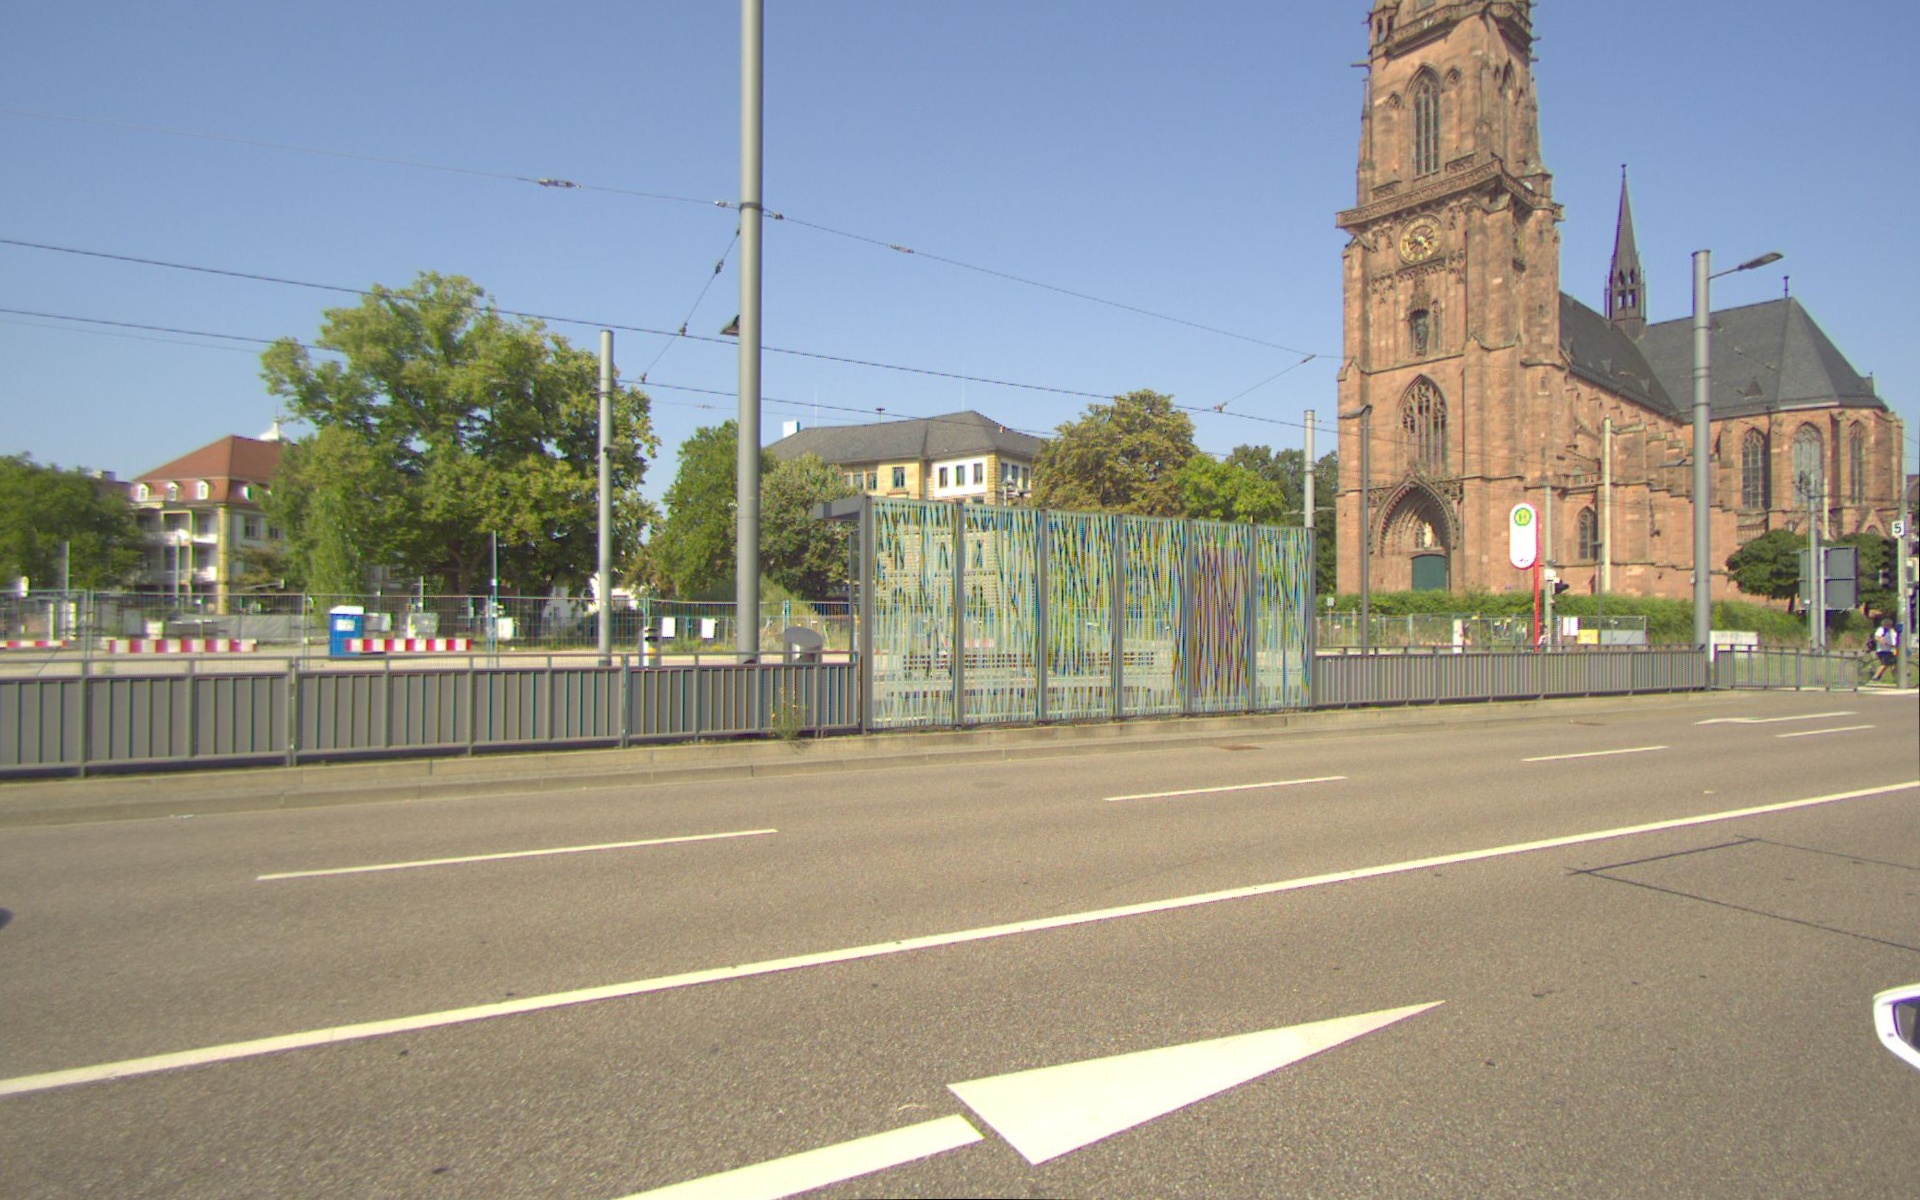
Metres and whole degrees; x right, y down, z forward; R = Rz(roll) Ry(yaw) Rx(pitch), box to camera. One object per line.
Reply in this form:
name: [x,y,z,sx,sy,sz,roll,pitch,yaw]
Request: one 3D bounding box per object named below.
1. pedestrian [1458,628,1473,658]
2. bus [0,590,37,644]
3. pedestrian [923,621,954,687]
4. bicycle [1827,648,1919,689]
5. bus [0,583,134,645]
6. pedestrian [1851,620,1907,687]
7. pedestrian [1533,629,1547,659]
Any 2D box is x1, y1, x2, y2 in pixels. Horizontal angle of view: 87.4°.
pedestrian: [27.547,2.351,54.699,0.545,1.596,0.490,1,-2,-29]
bus: [-63.487,0.943,59.441,3.160,3.464,13.324,0,-2,16]
pedestrian: [-0.570,1.430,26.666,0.656,1.723,0.515,1,-2,-29]
bicycle: [23.717,1.755,26.101,0.473,0.991,1.751,1,-2,-29]
bus: [-55.030,0.788,56.890,3.160,3.464,13.324,0,-2,16]
pedestrian: [23.783,1.382,26.012,0.595,1.701,0.913,1,-2,-29]
pedestrian: [31.755,2.405,55.026,0.534,1.596,0.659,-1,-2,42]
